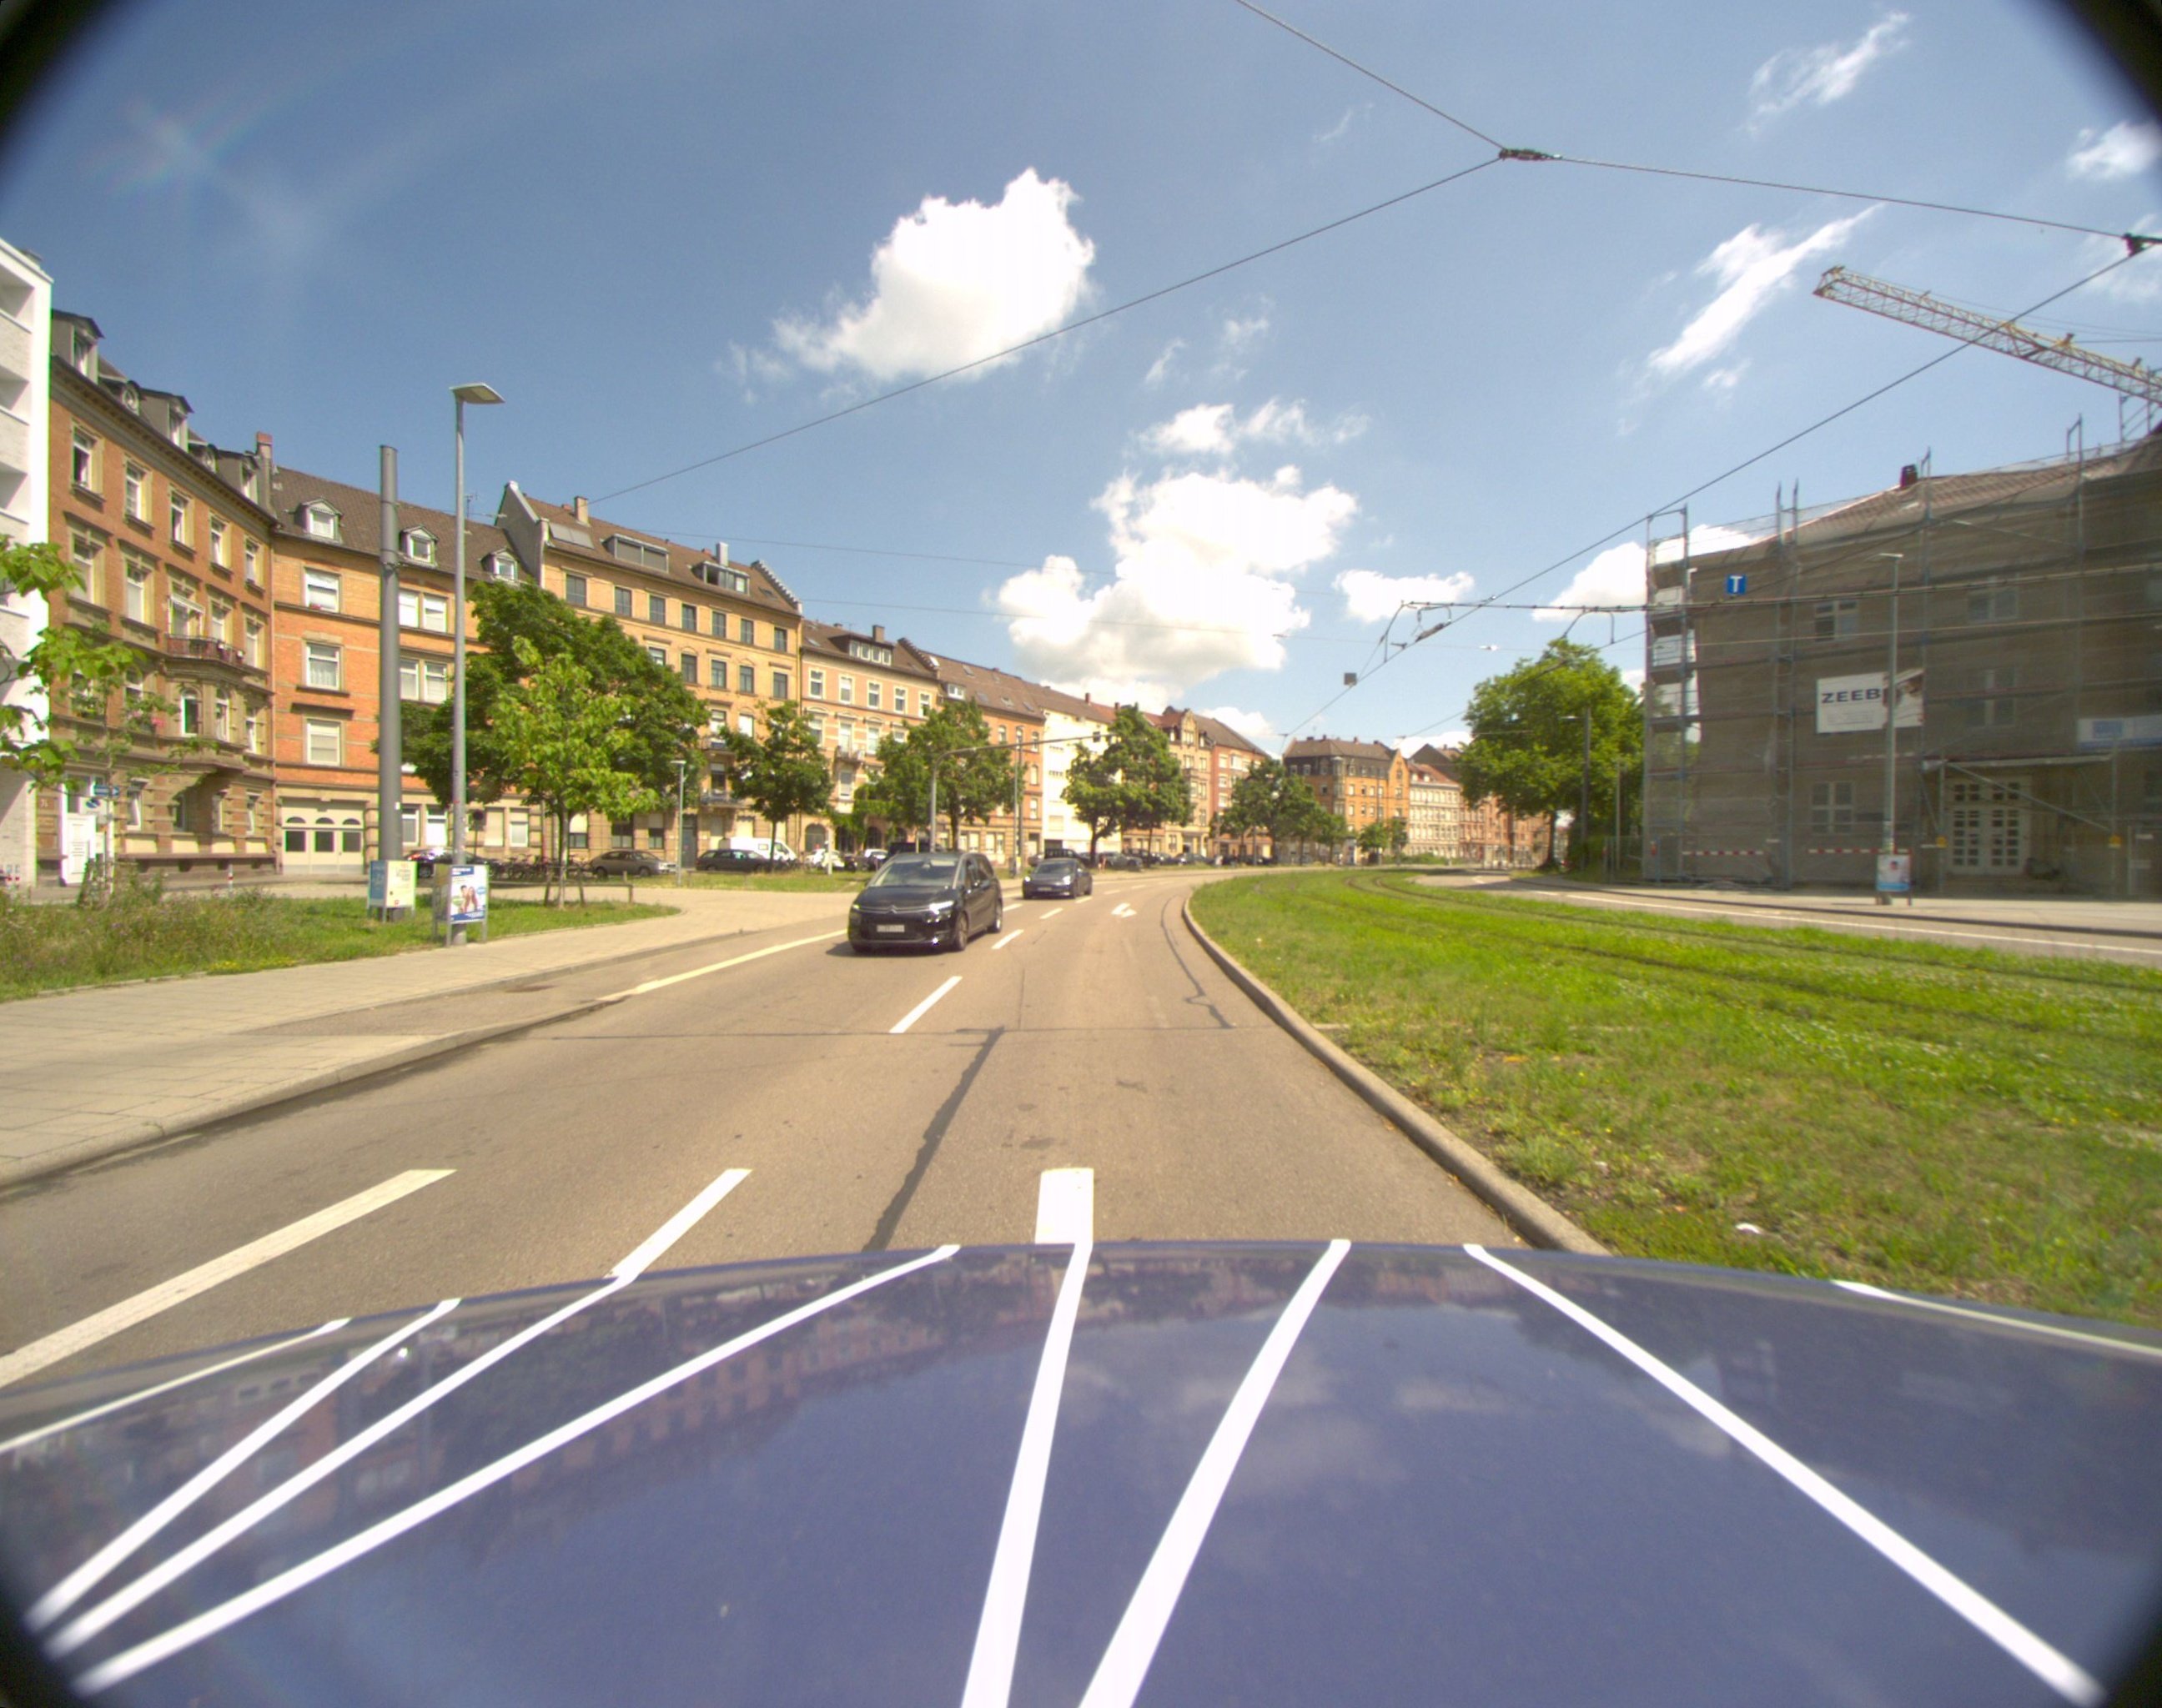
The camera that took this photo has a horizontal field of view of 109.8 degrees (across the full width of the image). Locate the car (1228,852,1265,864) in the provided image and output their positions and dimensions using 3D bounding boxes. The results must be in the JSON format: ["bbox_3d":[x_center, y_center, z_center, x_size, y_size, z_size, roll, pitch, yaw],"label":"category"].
[{"bbox_3d":[18.844,0.444,86.615,3.995,1.372,1.963,-1,0,7],"label":"car"}]

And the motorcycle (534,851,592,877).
[{"bbox_3d":[-23.579,0.464,34.571,2.387,1.119,0.814,-1,0,16],"label":"motorcycle"}]

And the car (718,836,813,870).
[{"bbox_3d":[-20.802,-0.078,50.321,2.111,2.166,5.405,-1,0,40],"label":"car"}]

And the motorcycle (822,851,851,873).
[{"bbox_3d":[-13.517,0.419,41.986,1.783,1.160,0.641,0,1,38],"label":"motorcycle"}]

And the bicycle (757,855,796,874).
[{"bbox_3d":[-15.406,0.519,38.514,0.542,0.896,1.825,-1,0,36],"label":"bicycle"}]

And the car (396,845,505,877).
[{"bbox_3d":[-31.051,0.340,37.505,1.659,1.483,3.861,-1,0,40],"label":"car"}]

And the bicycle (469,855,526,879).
[{"bbox_3d":[-24.458,0.548,31.852,2.387,0.963,0.544,-1,0,16],"label":"bicycle"}]

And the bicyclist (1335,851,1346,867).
[{"bbox_3d":[30.073,0.574,88.149,0.694,1.814,0.958,7,4,42],"label":"bicyclist"}]

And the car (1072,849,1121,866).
[{"bbox_3d":[1.385,0.273,65.165,4.081,1.397,1.853,-1,0,4],"label":"car"}]

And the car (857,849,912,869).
[{"bbox_3d":[-14.976,0.349,58.021,1.659,1.483,3.861,-1,0,40],"label":"car"}]

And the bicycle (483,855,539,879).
[{"bbox_3d":[-24.309,0.548,32.406,2.387,0.963,0.544,-1,0,16],"label":"bicycle"}]

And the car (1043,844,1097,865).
[{"bbox_3d":[-0.873,0.047,62.974,4.144,1.731,1.854,-1,0,9],"label":"car"}]

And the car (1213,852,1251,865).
[{"bbox_3d":[16.751,0.454,84.220,3.993,1.372,1.963,-1,0,12],"label":"car"}]

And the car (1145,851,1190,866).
[{"bbox_3d":[8.330,0.409,73.639,4.265,1.372,1.853,-1,0,3],"label":"car"}]

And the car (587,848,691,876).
[{"bbox_3d":[-20.968,0.396,36.077,4.156,1.237,1.865,-1,0,15],"label":"car"}]

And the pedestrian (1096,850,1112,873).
[{"bbox_3d":[1.583,0.531,53.256,0.700,1.583,0.907,0,1,39],"label":"pedestrian"}]

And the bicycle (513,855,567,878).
[{"bbox_3d":[-23.942,0.553,33.638,2.387,0.950,0.544,-1,0,16],"label":"bicycle"}]

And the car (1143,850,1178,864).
[{"bbox_3d":[9.261,0.302,88.672,1.833,1.606,4.505,-1,0,40],"label":"car"}]

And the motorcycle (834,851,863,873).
[{"bbox_3d":[-13.030,0.435,42.594,1.783,1.160,0.641,0,1,38],"label":"motorcycle"}]

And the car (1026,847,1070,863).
[{"bbox_3d":[-3.106,0.080,72.736,1.833,1.483,4.236,-1,0,40],"label":"car"}]

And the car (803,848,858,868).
[{"bbox_3d":[-17.878,0.257,54.273,1.564,1.395,3.358,1,1,42],"label":"car"}]

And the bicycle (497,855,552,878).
[{"bbox_3d":[-24.141,0.547,32.969,2.387,0.963,0.544,-1,0,16],"label":"bicycle"}]

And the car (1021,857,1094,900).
[{"bbox_3d":[-0.761,0.855,27.887,1.913,1.385,4.316,-1,0,8],"label":"car"}]

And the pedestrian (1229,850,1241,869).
[{"bbox_3d":[14.382,0.485,70.948,0.700,1.695,1.046,1,4,38],"label":"pedestrian"}]

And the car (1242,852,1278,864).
[{"bbox_3d":[21.045,0.524,89.271,3.992,1.346,1.964,-1,0,17],"label":"car"}]

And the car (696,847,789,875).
[{"bbox_3d":[-18.060,0.376,40.605,4.252,1.419,1.807,0,0,10],"label":"car"}]

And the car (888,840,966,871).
[{"bbox_3d":[-10.179,0.117,50.379,4.623,1.916,1.918,-1,0,9],"label":"car"}]

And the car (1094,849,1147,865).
[{"bbox_3d":[3.538,0.248,67.665,4.688,1.372,1.853,-1,0,5],"label":"car"}]

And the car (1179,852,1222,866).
[{"bbox_3d":[12.315,0.473,78.642,4.265,1.372,1.853,-1,0,3],"label":"car"}]

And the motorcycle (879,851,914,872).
[{"bbox_3d":[-10.725,0.431,44.281,1.910,1.160,0.638,0,1,-39],"label":"motorcycle"}]

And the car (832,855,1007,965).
[{"bbox_3d":[-2.633,0.844,13.472,1.875,1.610,4.190,-1,0,5],"label":"car"}]

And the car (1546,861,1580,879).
[{"bbox_3d":[39.355,1.288,61.998,1.927,1.360,4.327,-2,-1,38],"label":"car"}]

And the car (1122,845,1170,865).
[{"bbox_3d":[5.978,0.106,70.522,4.361,1.731,1.853,-1,0,3],"label":"car"}]

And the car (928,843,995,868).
[{"bbox_3d":[-8.291,0.125,52.769,4.167,1.646,1.918,-1,0,13],"label":"car"}]

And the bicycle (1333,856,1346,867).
[{"bbox_3d":[29.990,0.845,88.094,0.693,1.235,1.843,7,4,42],"label":"bicycle"}]
